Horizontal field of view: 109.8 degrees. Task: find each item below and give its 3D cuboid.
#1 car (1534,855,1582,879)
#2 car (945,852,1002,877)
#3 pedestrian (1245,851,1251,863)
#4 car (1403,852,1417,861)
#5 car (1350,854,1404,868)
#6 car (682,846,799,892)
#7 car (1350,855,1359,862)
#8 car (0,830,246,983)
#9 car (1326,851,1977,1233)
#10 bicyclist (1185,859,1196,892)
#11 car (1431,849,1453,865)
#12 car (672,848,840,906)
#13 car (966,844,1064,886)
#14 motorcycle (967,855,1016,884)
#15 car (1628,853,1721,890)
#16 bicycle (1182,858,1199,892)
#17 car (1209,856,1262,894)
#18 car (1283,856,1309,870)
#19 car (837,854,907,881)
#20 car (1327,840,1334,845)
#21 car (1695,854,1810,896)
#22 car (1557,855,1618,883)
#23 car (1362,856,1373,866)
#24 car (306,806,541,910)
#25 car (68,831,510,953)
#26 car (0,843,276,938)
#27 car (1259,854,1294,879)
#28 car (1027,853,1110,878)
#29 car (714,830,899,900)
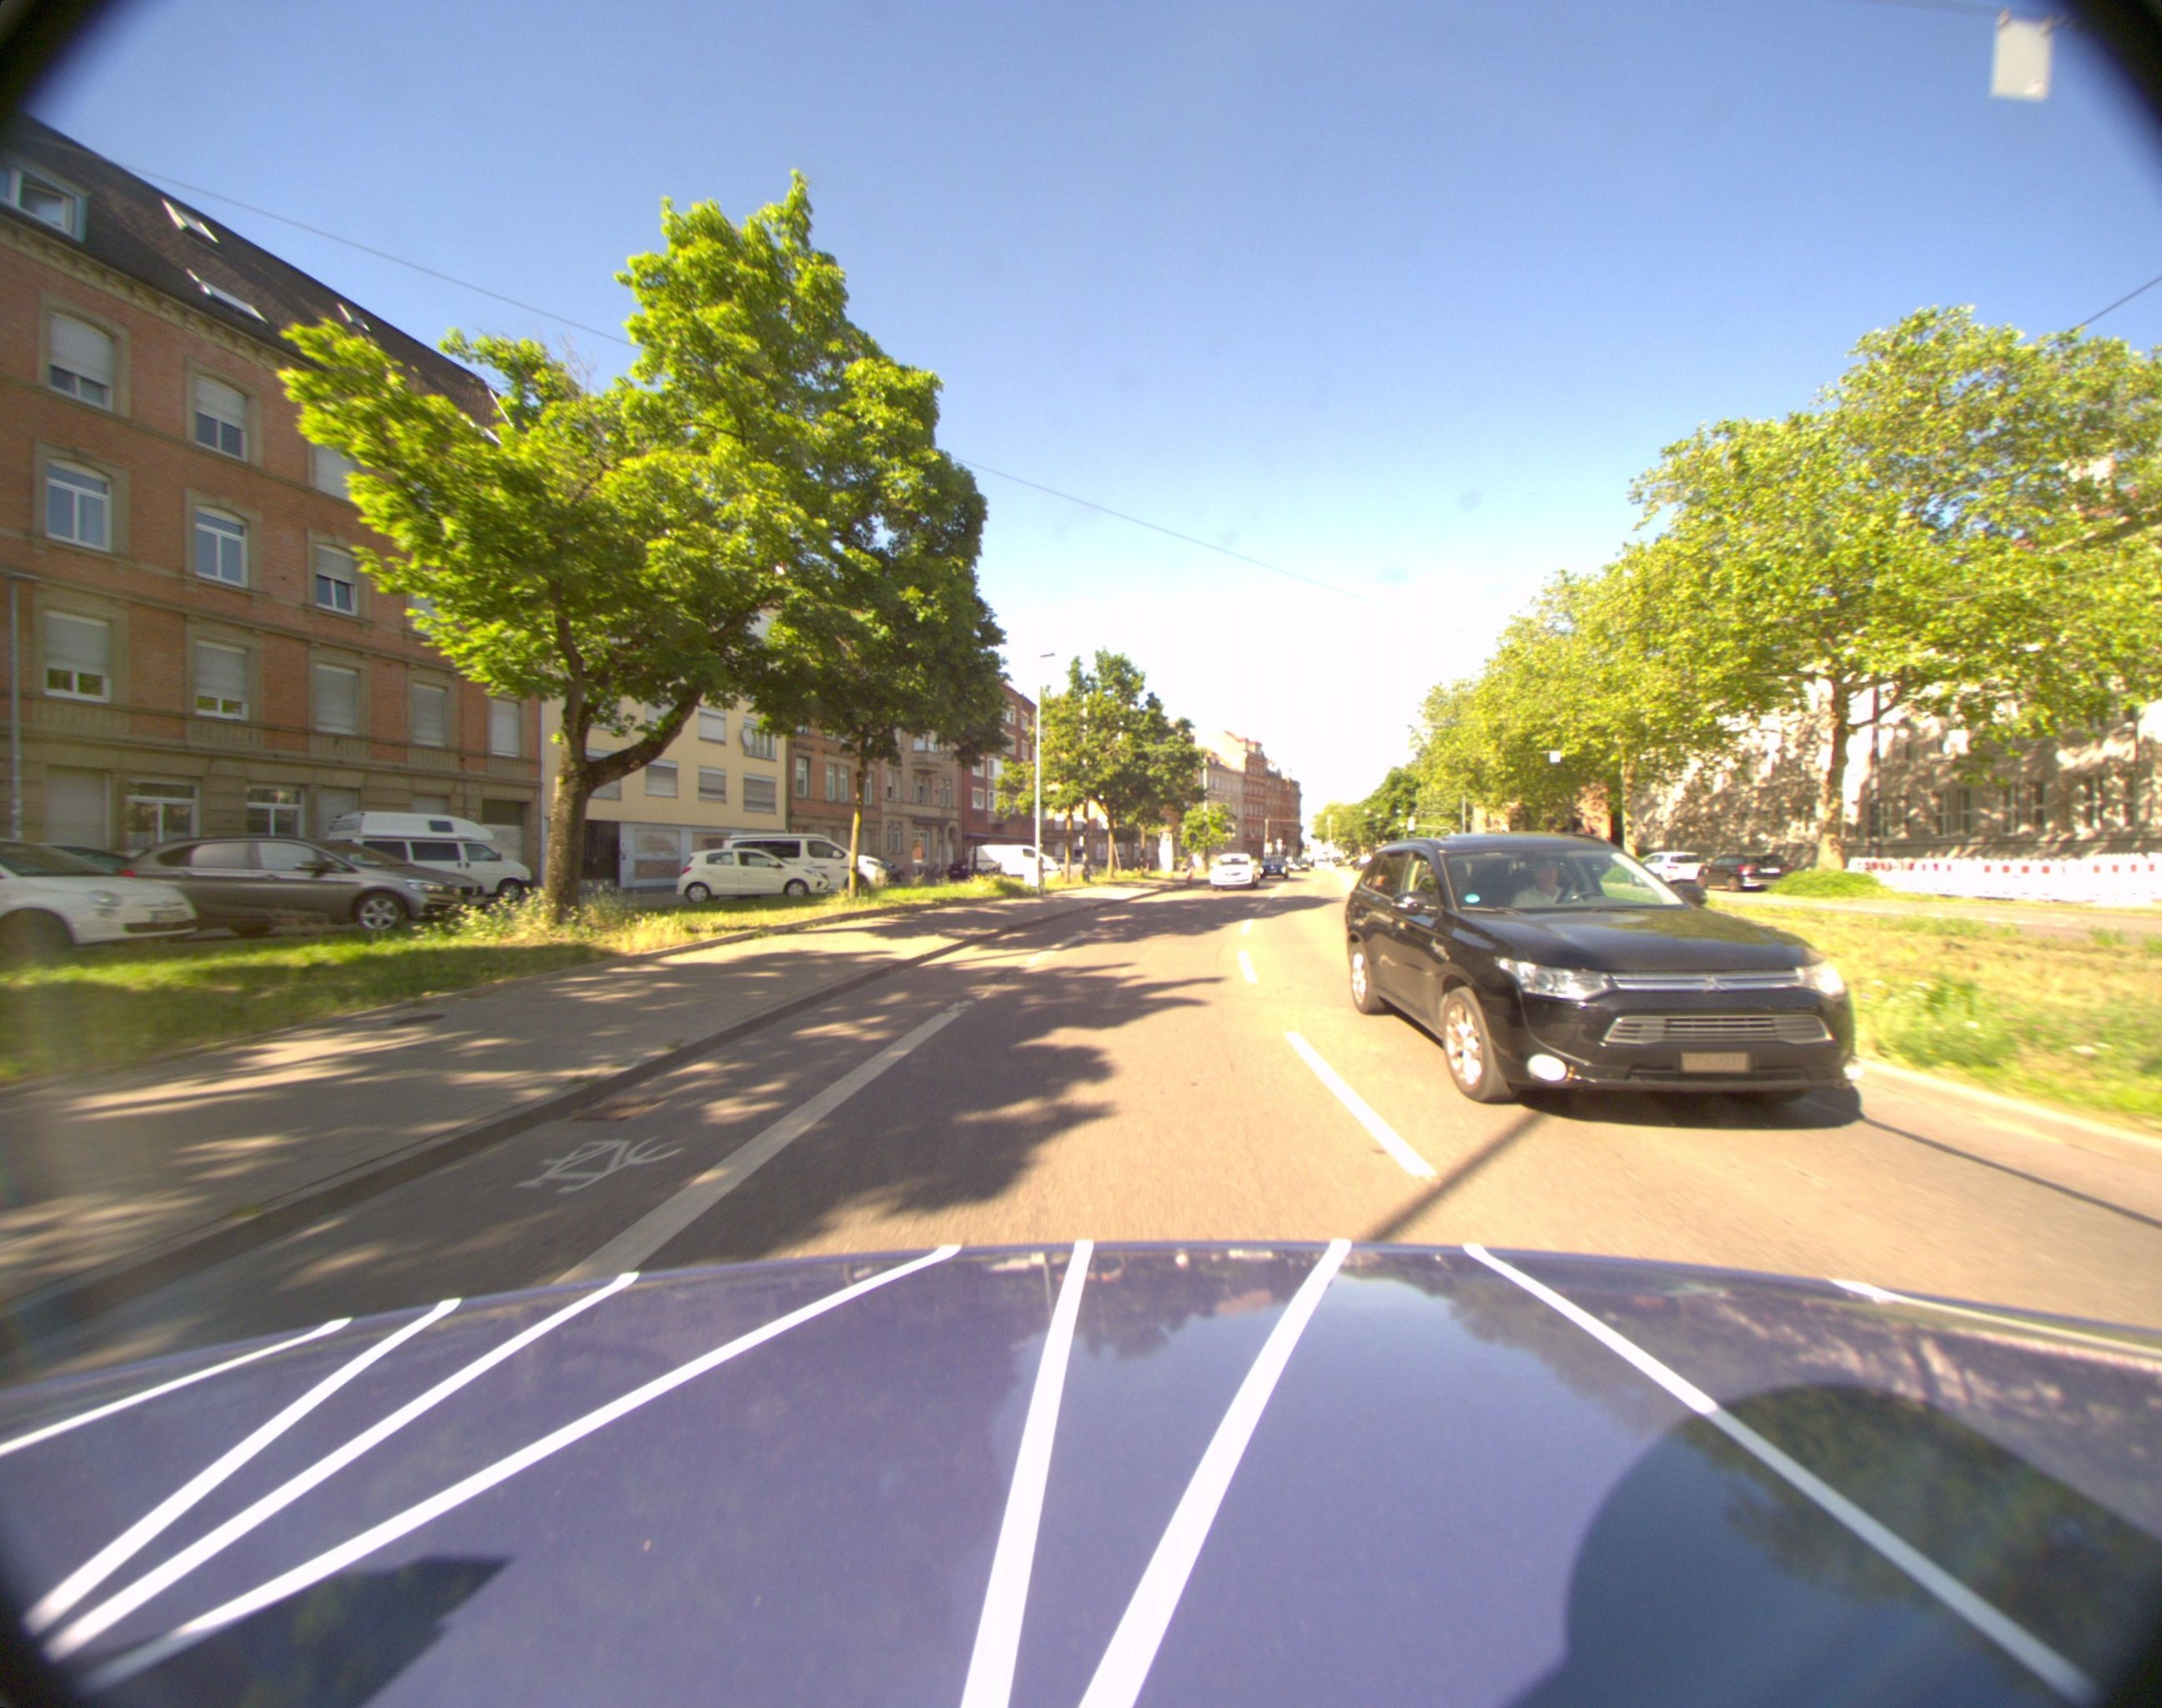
[{"bbox_3d":[32.925,0.873,52.534,1.674,1.538,4.194,0,0,15],"label":"car"},{"bbox_3d":[-7.579,0.729,54.006,1.996,1.465,4.495,-4,0,20],"label":"car"},{"bbox_3d":[25.835,0.438,117.575,0.820,1.851,0.704,0,0,8],"label":"pedestrian"},{"bbox_3d":[58.924,0.475,136.210,1.792,1.542,4.313,0,0,18],"label":"car"},{"bbox_3d":[30.911,0.714,79.382,1.839,1.444,4.947,0,0,-39],"label":"car"},{"bbox_3d":[-14.351,0.610,32.367,1.996,1.789,4.633,1,0,17],"label":"car"},{"bbox_3d":[59.723,0.974,165.862,1.795,1.420,4.382,0,0,17],"label":"car"},{"bbox_3d":[-13.691,0.531,8.942,4.882,1.638,2.098,1,1,-12],"label":"car"},{"bbox_3d":[3.283,0.840,5.743,1.840,1.672,4.645,-1,0,7],"label":"car"},{"bbox_3d":[5.436,1.052,37.630,0.438,1.629,0.780,0,0,18],"label":"bicyclist"},{"bbox_3d":[49.837,0.393,104.969,1.918,2.084,4.598,0,0,16],"label":"car"},{"bbox_3d":[-8.812,0.625,20.957,4.033,1.470,1.810,1,1,-16],"label":"car"},{"bbox_3d":[-3.551,0.594,40.896,4.884,2.063,2.017,1,0,-17],"label":"car"},{"bbox_3d":[-4.463,0.762,37.973,2.266,1.412,0.853,1,0,-32],"label":"motorcycle"},{"bbox_3d":[27.728,0.762,35.709,1.832,1.578,4.401,1,0,15],"label":"car"},{"bbox_3d":[5.426,1.015,37.582,0.438,1.629,1.941,3,1,17],"label":"bicycle"},{"bbox_3d":[7.265,0.929,35.396,1.799,1.626,4.400,0,0,20],"label":"car"},{"bbox_3d":[22.813,0.905,80.841,1.889,1.419,4.378,0,0,5],"label":"car"},{"bbox_3d":[-11.670,0.758,42.802,1.730,1.412,4.299,1,0,17],"label":"car"},{"bbox_3d":[65.580,-3.019,199.691,1.795,1.420,4.382,0,0,17],"label":"car"},{"bbox_3d":[25.745,0.751,29.317,1.832,1.483,4.187,0,0,18],"label":"car"},{"bbox_3d":[31.022,0.861,46.710,1.832,1.629,4.401,0,0,15],"label":"car"},{"bbox_3d":[56.089,1.408,148.834,2.062,1.880,4.524,2,1,20],"label":"car"},{"bbox_3d":[-17.994,0.103,21.121,1.995,2.570,4.520,1,0,18],"label":"car"},{"bbox_3d":[-12.206,0.569,12.114,4.514,1.717,1.997,1,1,-12],"label":"car"},{"bbox_3d":[-19.717,0.660,15.199,1.996,1.681,4.519,0,0,18],"label":"car"},{"bbox_3d":[13.516,0.823,52.433,1.996,1.608,4.269,0,0,19],"label":"car"},{"bbox_3d":[-0.805,0.714,47.971,4.884,1.426,2.018,1,0,-16],"label":"car"},{"bbox_3d":[-8.438,0.349,23.871,5.189,2.001,2.098,1,1,-12],"label":"car"}]
